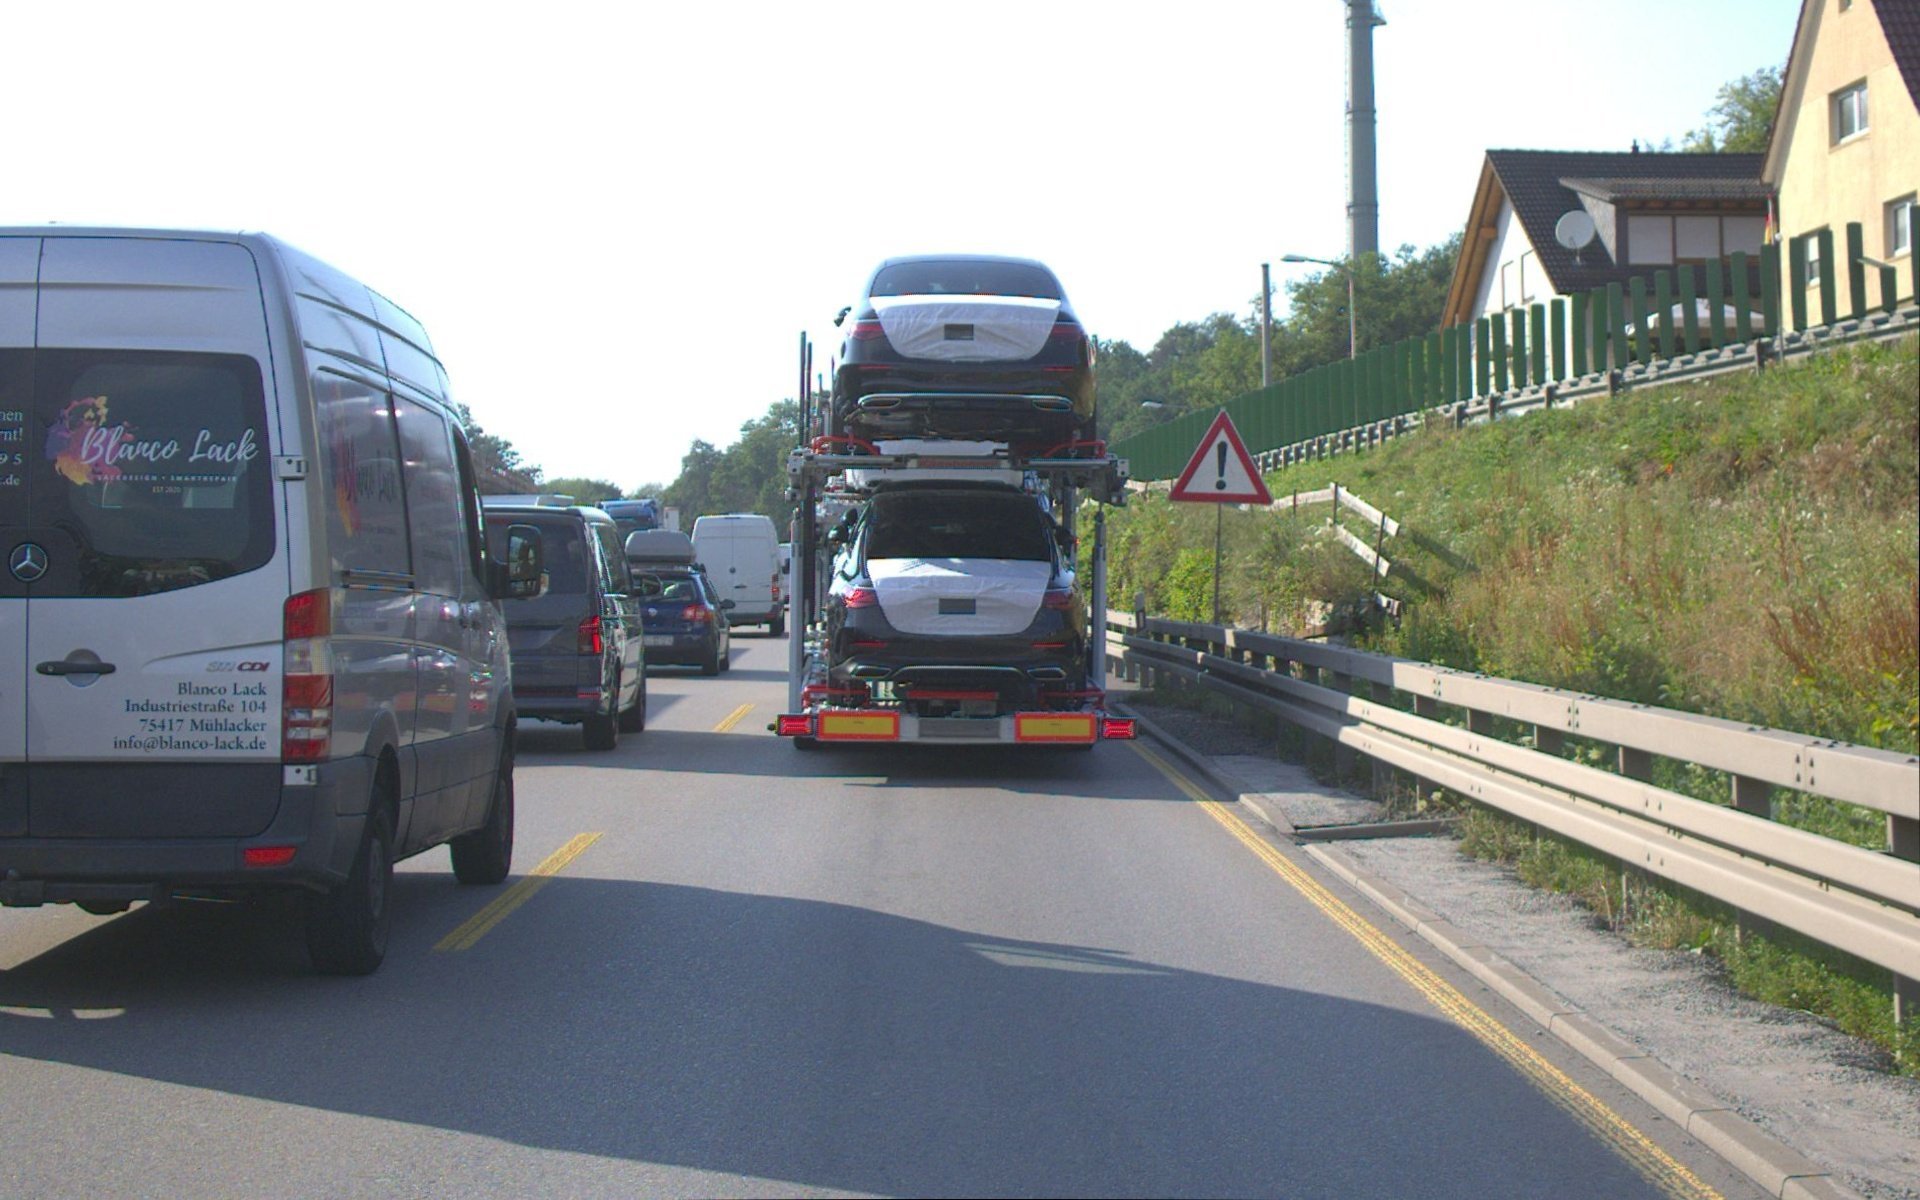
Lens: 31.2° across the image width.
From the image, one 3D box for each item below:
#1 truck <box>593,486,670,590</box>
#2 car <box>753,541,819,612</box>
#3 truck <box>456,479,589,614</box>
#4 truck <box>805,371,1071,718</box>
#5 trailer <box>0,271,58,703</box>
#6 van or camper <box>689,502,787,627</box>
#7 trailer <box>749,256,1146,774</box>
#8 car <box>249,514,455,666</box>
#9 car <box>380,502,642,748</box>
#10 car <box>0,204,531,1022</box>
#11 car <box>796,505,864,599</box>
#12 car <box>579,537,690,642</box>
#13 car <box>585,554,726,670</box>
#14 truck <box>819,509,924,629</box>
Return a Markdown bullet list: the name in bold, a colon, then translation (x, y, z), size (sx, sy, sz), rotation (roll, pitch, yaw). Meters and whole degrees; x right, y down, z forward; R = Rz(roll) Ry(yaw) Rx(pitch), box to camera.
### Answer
- **truck**: translation (-13.824, -2.605, 145.245), size (2.624, 4.098, 9.629), rotation (-3, 1, -3)
- **car**: translation (-5.253, -0.727, 104.195), size (1.885, 2.093, 3.765), rotation (1, 0, -1)
- **truck**: translation (-11.858, -1.393, 93.851), size (2.714, 3.413, 8.141), rotation (-2, 0, -2)
- **truck**: translation (-0.262, -0.569, 38.804), size (2.682, 3.523, 7.194), rotation (1, 0, -1)
- **trailer**: translation (-10.549, -1.080, 32.061), size (2.764, 4.127, 5.977), rotation (1, 1, -1)
- **van or camper**: translation (-4.794, -0.740, 74.707), size (1.968, 2.583, 5.042), rotation (1, 0, -2)
- **trailer**: translation (-0.173, -0.587, 31.276), size (2.682, 3.523, 15.289), rotation (1, 0, -1)
- **car**: translation (-6.971, -0.103, 39.833), size (1.640, 1.639, 4.689), rotation (1, 0, -1)
- **car**: translation (-3.691, 0.212, 28.856), size (1.808, 1.897, 4.000), rotation (1, 0, -2)
- **car**: translation (-3.046, 0.007, 13.878), size (1.993, 2.639, 5.531), rotation (0, 1, -1)
- **car**: translation (-7.240, -2.652, 190.208), size (3.444, 5.018, 9.654), rotation (1, 1, -4)
- **car**: translation (-8.045, -0.263, 85.372), size (2.471, 2.525, 4.000), rotation (0, 0, -1)
- **car**: translation (-4.194, 0.132, 47.814), size (1.725, 1.517, 3.974), rotation (1, 1, -2)
- **truck**: translation (-3.518, -1.271, 139.707), size (4.065, 4.663, 10.592), rotation (0, 1, -1)
